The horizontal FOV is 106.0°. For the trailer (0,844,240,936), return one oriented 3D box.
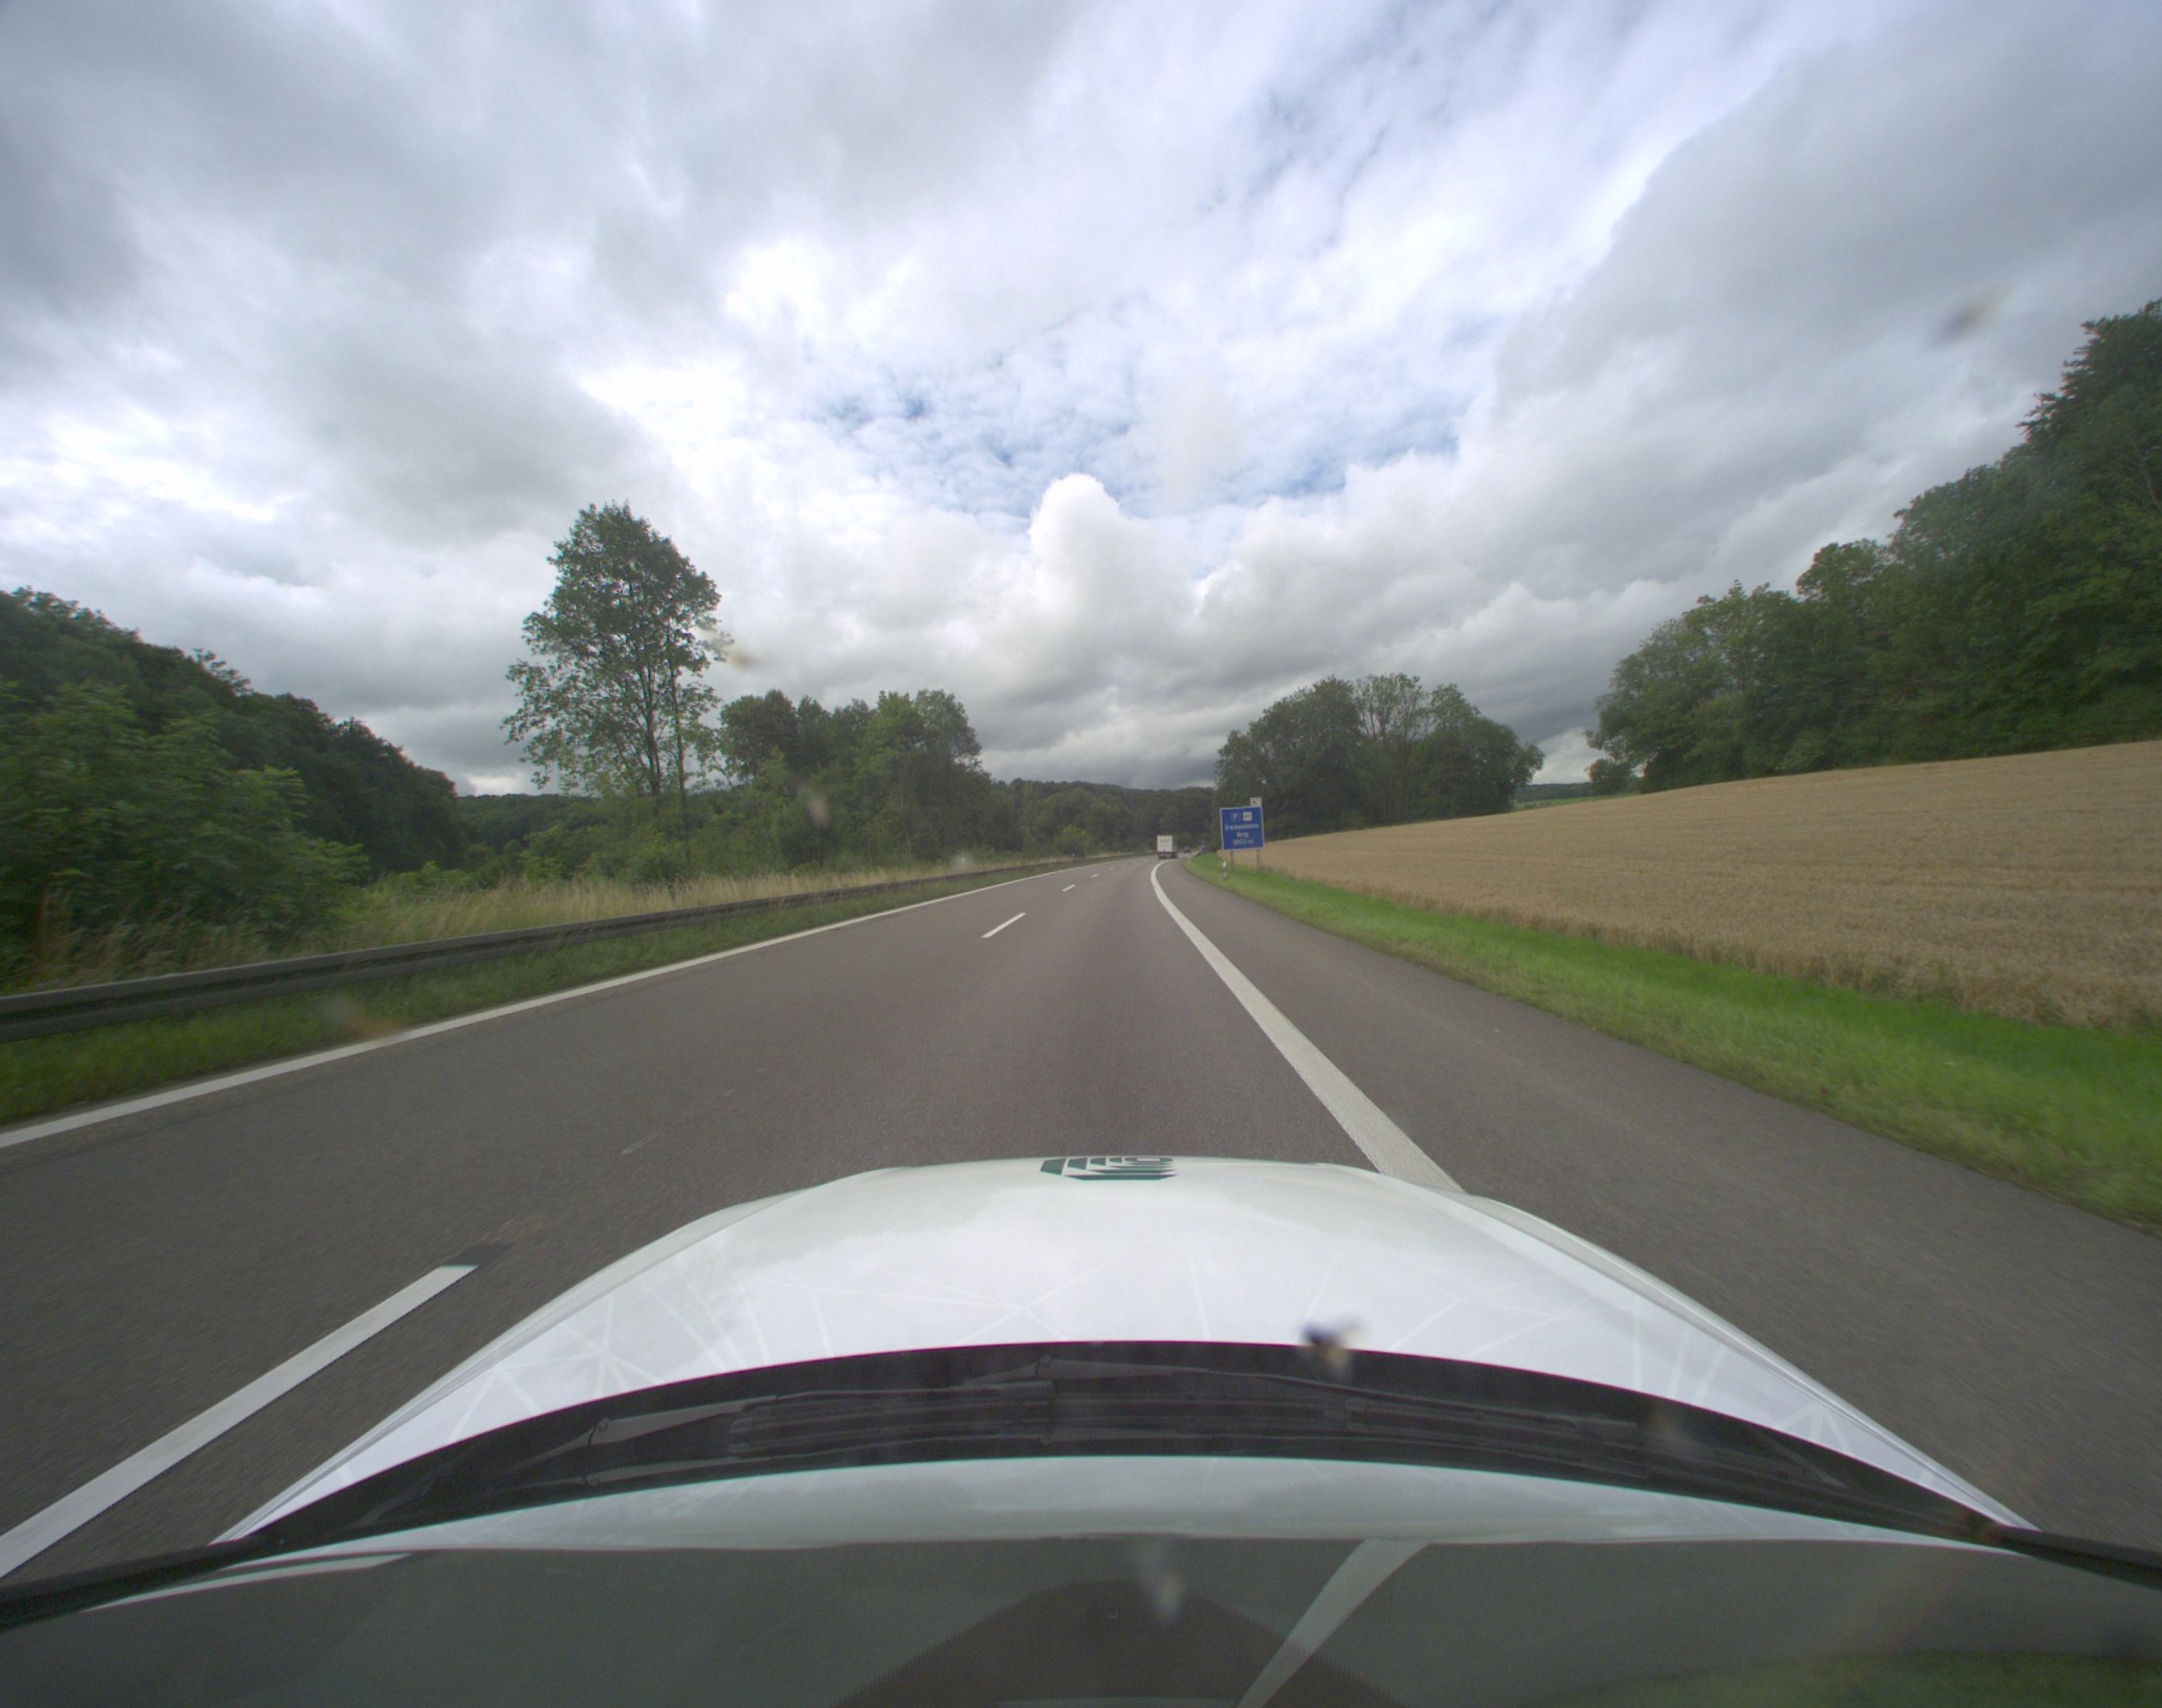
[{"bbox_3d":[-40.206,1.259,31.775,3.154,3.220,13.756,-1,0,-12],"label":"trailer"}]

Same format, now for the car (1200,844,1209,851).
[{"bbox_3d":[29.677,-1.479,196.029,1.981,1.548,4.012,-2,0,10],"label":"car"}]

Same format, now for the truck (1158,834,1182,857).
[{"bbox_3d":[16.227,-1.459,148.328,3.765,4.132,8.286,-1,-1,10],"label":"truck"}]

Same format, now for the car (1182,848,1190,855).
[{"bbox_3d":[28.837,-0.780,223.463,1.890,1.795,4.012,-1,-1,11],"label":"car"}]

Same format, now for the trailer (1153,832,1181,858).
[{"bbox_3d":[15.015,-1.505,141.027,3.783,4.174,14.846,-1,0,9],"label":"trailer"}]
